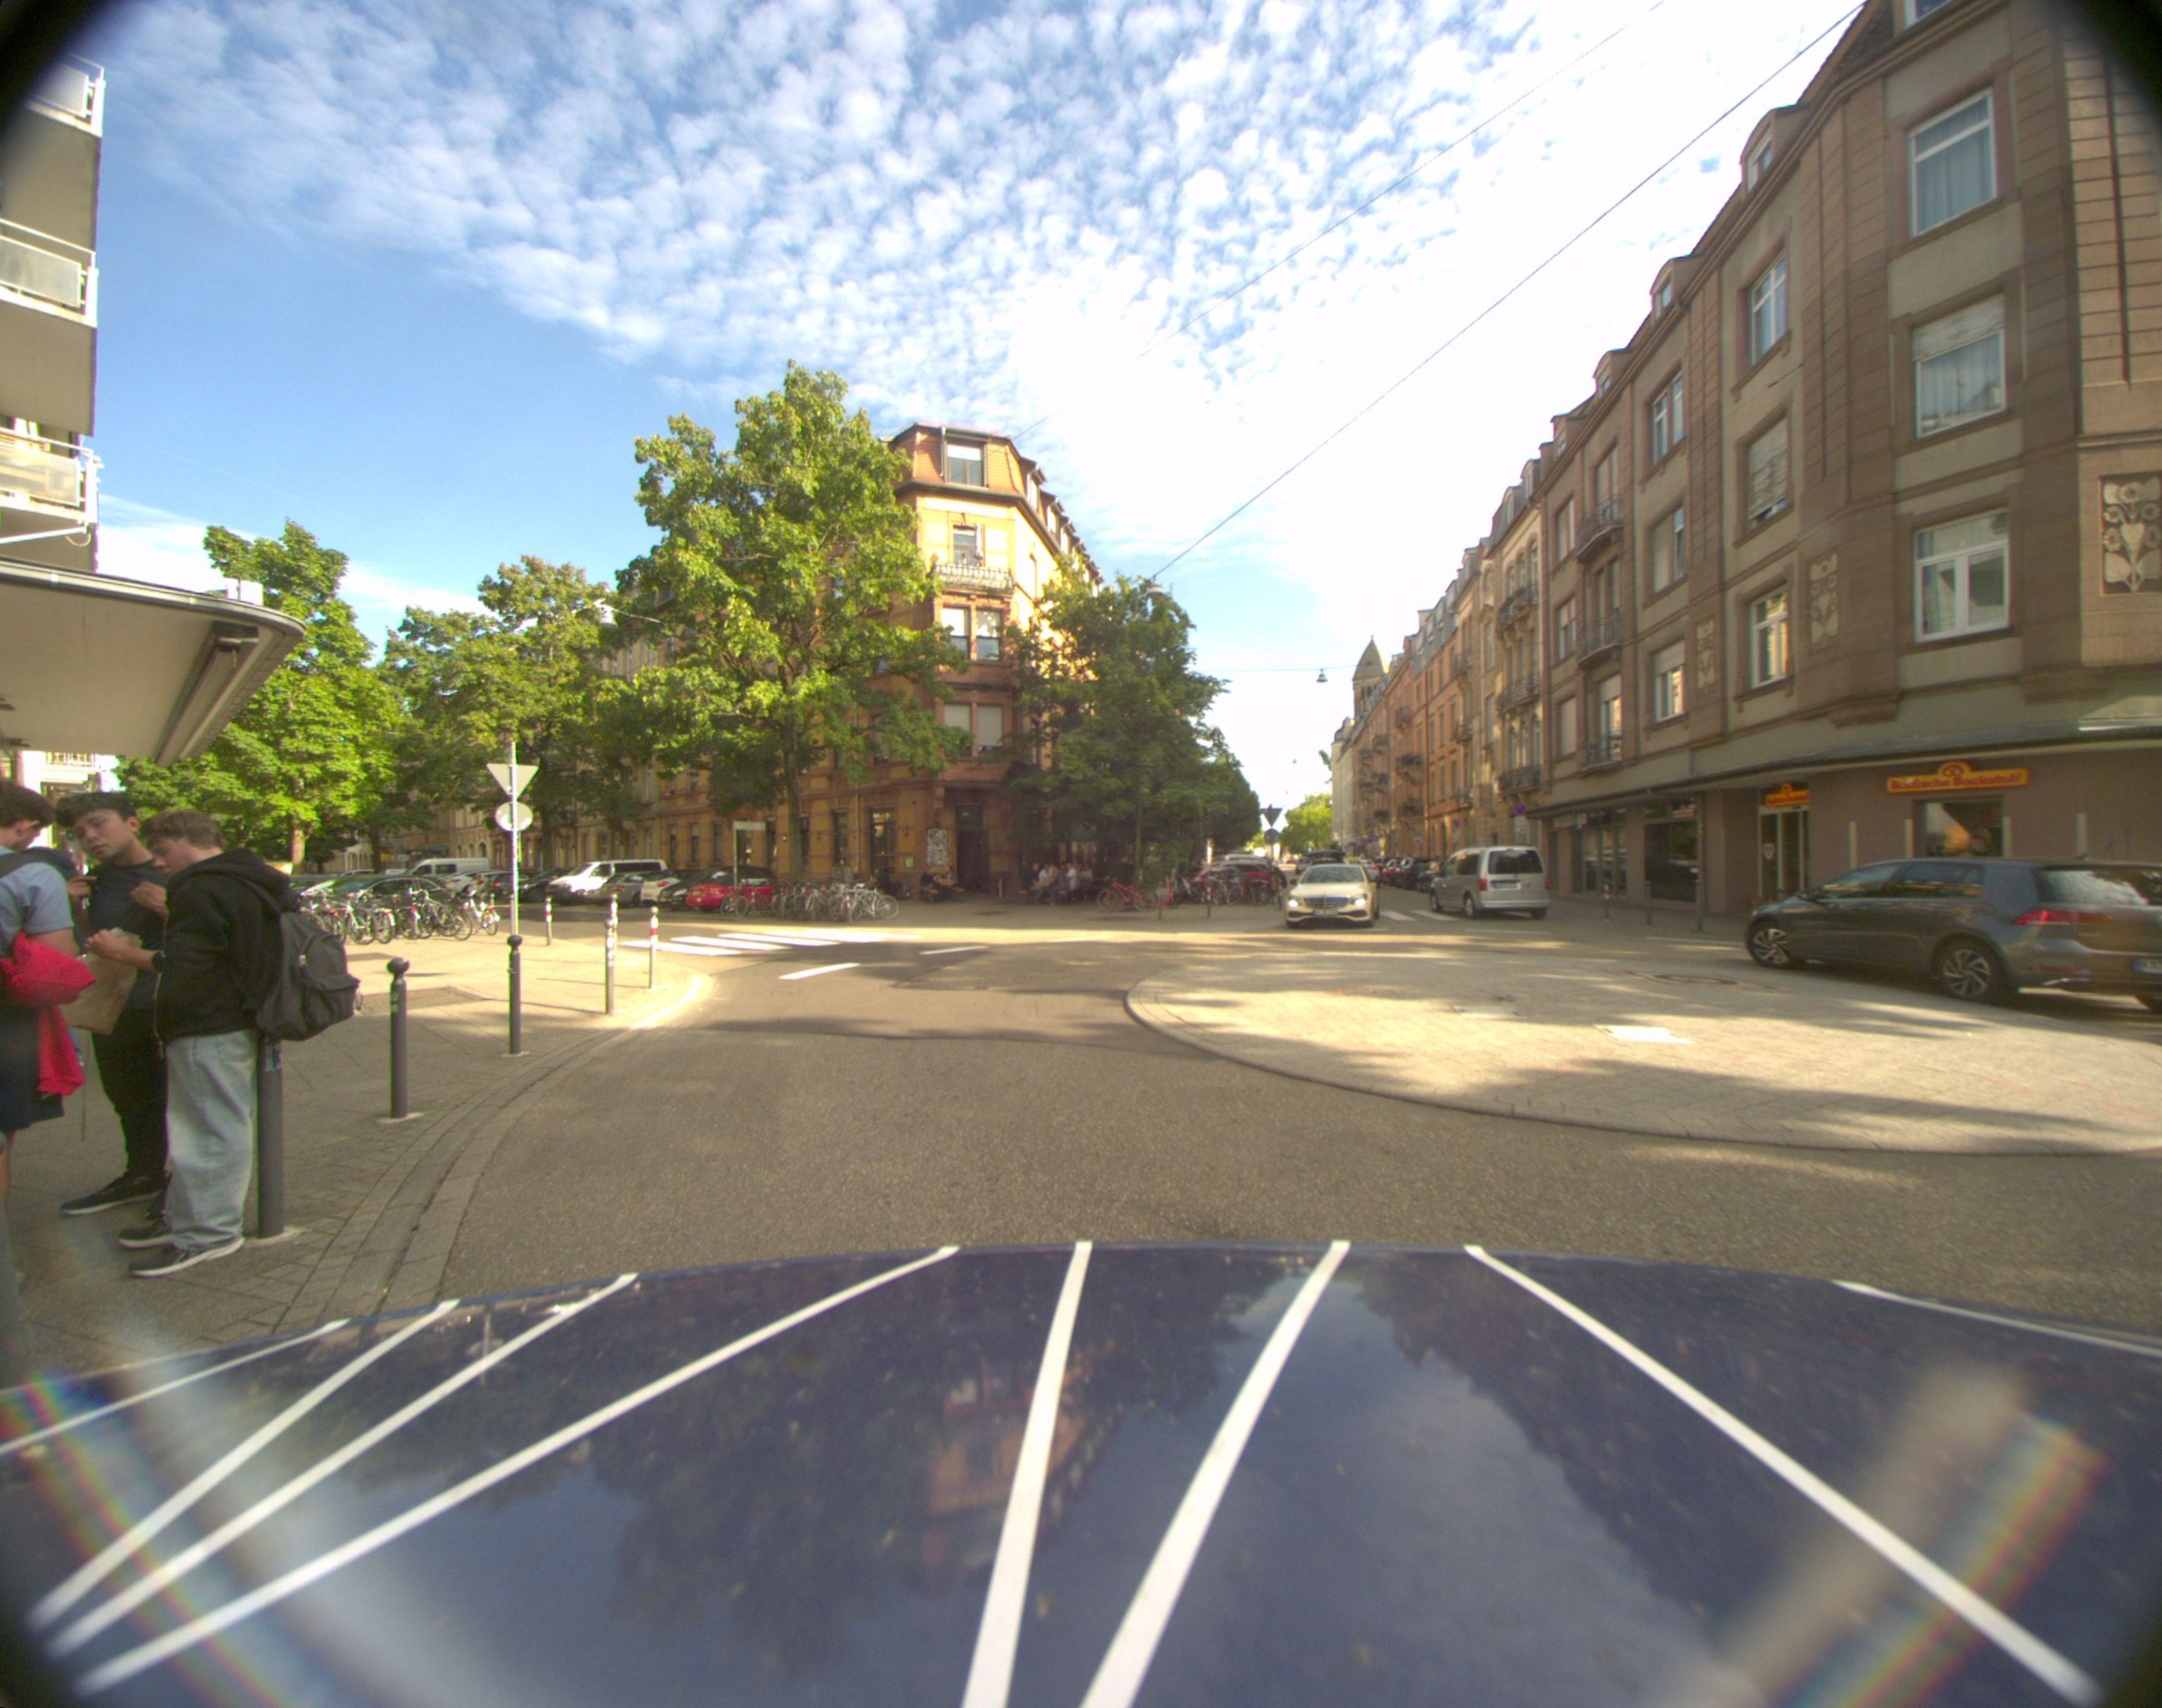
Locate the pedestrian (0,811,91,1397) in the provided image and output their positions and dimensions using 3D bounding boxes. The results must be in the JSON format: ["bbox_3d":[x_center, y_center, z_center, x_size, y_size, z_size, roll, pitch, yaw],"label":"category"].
[{"bbox_3d":[-3.731,0.745,2.364,0.634,1.786,0.712,3,0,-43],"label":"pedestrian"}]

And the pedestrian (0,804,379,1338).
[{"bbox_3d":[-3.386,0.740,2.957,0.716,1.786,0.631,3,0,-21],"label":"pedestrian"}]

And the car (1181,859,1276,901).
[{"bbox_3d":[6.139,1.077,31.787,3.588,1.606,1.512,2,0,-9],"label":"car"}]

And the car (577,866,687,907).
[{"bbox_3d":[-19.432,1.360,32.986,1.665,1.450,3.714,0,3,40],"label":"car"}]

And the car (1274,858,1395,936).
[{"bbox_3d":[6.295,0.951,18.457,1.940,1.588,4.845,-3,-1,28],"label":"car"}]

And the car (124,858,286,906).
[{"bbox_3d":[-42.912,1.351,37.431,2.145,2.207,4.815,-1,-1,7],"label":"car"}]

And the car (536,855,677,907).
[{"bbox_3d":[-21.498,1.153,34.637,2.041,1.978,4.920,0,3,36],"label":"car"}]

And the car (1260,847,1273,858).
[{"bbox_3d":[32.994,-0.187,134.837,1.996,1.877,4.005,-2,-1,16],"label":"car"}]

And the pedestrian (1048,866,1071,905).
[{"bbox_3d":[-0.722,1.045,25.476,0.728,1.307,0.521,-1,0,2],"label":"pedestrian"}]

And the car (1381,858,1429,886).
[{"bbox_3d":[18.091,0.982,42.579,1.760,1.487,4.137,-2,-1,13],"label":"car"}]

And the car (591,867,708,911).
[{"bbox_3d":[-17.577,1.387,31.083,1.665,1.449,3.715,-2,1,41],"label":"car"}]

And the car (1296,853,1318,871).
[{"bbox_3d":[24.928,0.853,83.883,1.942,1.868,4.841,-2,-1,13],"label":"car"}]

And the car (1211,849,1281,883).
[{"bbox_3d":[12.369,0.889,57.036,4.742,2.408,1.997,-2,-1,-18],"label":"car"}]

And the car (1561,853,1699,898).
[{"bbox_3d":[21.937,0.844,30.500,3.995,1.611,2.001,-2,-1,5],"label":"car"}]

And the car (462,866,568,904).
[{"bbox_3d":[-32.852,1.731,44.249,1.931,1.823,4.467,0,3,36],"label":"car"}]

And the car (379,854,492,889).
[{"bbox_3d":[-43.540,1.144,51.393,1.995,2.188,5.493,-2,-1,39],"label":"car"}]

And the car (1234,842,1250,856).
[{"bbox_3d":[21.329,-0.706,100.767,1.848,1.724,4.003,-2,-1,8],"label":"car"}]

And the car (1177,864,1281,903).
[{"bbox_3d":[5.687,1.145,29.303,3.589,1.372,1.512,2,0,-11],"label":"car"}]

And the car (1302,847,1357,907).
[{"bbox_3d":[9.174,0.801,28.254,1.790,2.051,4.005,-1,0,17],"label":"car"}]

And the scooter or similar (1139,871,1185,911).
[{"bbox_3d":[2.511,1.133,23.593,1.289,1.203,0.558,0,-2,41],"label":"scooter or similar"}]

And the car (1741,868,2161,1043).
[{"bbox_3d":[9.423,0.873,8.186,1.794,1.429,4.005,0,-1,12],"label":"car"}]

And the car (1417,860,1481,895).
[{"bbox_3d":[15.705,0.984,32.592,1.721,1.360,3.834,-2,-1,14],"label":"car"}]

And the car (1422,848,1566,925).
[{"bbox_3d":[10.589,0.790,19.886,1.832,1.780,4.334,-1,-1,7],"label":"car"}]

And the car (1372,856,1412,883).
[{"bbox_3d":[19.703,0.986,48.270,1.760,1.588,4.347,-2,-1,14],"label":"car"}]

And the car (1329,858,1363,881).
[{"bbox_3d":[17.808,1.051,51.213,1.767,1.373,4.457,-4,-2,15],"label":"car"}]

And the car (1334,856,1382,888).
[{"bbox_3d":[15.057,0.978,41.462,1.996,1.624,4.850,-2,-1,15],"label":"car"}]

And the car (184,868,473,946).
[{"bbox_3d":[-15.941,1.074,16.377,1.806,1.446,4.008,0,-2,24],"label":"car"}]

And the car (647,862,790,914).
[{"bbox_3d":[-13.388,1.203,28.243,2.001,1.561,4.320,-1,2,45],"label":"car"}]

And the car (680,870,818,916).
[{"bbox_3d":[-11.418,1.303,26.376,1.563,1.263,4.120,-2,1,37],"label":"car"}]

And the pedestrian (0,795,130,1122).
[{"bbox_3d":[-7.133,0.639,4.851,0.864,2.001,1.033,1,-1,-19],"label":"pedestrian"}]

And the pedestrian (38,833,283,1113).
[{"bbox_3d":[-6.133,0.747,5.113,0.842,1.743,0.613,-1,0,-8],"label":"pedestrian"}]

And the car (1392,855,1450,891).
[{"bbox_3d":[16.801,0.903,37.706,1.859,1.575,4.403,-2,0,14],"label":"car"}]

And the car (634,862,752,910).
[{"bbox_3d":[-15.367,1.224,30.229,1.856,1.711,3.716,-2,-1,41],"label":"car"}]

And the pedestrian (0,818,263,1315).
[{"bbox_3d":[-4.010,0.763,3.129,0.653,1.786,0.660,2,0,27],"label":"pedestrian"}]

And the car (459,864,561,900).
[{"bbox_3d":[-34.536,1.659,46.042,1.931,1.823,4.467,0,3,36],"label":"car"}]
